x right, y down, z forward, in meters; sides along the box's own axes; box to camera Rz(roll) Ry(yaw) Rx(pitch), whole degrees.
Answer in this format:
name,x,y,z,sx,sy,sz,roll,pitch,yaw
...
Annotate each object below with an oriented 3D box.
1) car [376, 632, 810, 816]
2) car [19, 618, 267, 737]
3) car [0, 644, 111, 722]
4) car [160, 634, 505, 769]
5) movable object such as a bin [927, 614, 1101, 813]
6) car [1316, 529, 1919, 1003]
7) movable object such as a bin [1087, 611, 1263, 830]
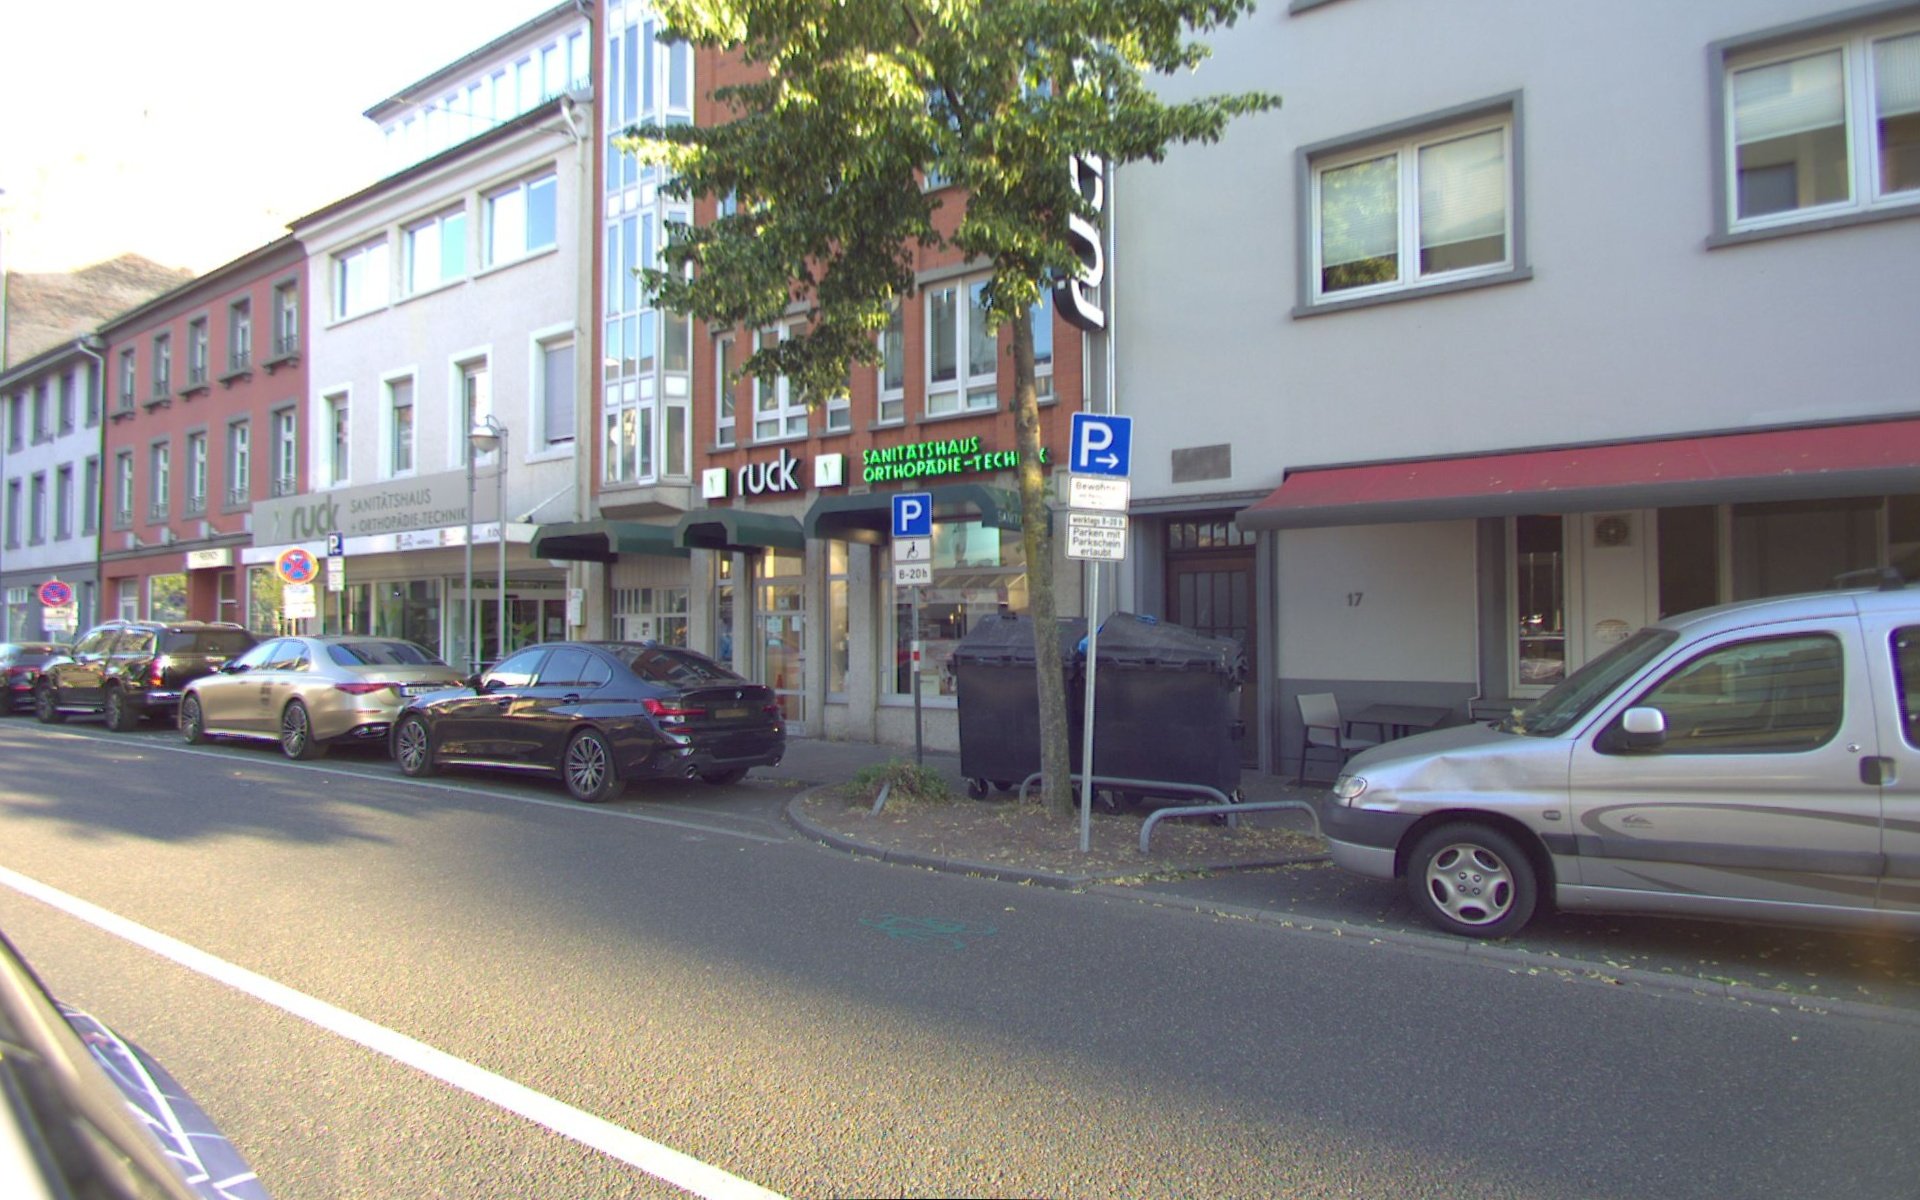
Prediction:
name,x,y,z,sx,sy,sz,roll,pitch,yaw
car,-3.792,1.114,10.169,4.528,1.484,1.706,-2,-5,33
car,-14.051,1.276,17.332,4.921,1.793,1.708,-2,-4,31
car,-19.227,1.656,20.684,4.001,1.448,1.688,-2,-5,32
car,-8.422,1.242,13.419,5.094,1.484,1.977,-2,-4,34
movable object such as a bin,0.483,0.957,9.033,1.331,1.632,0.775,-1,-1,30
car,4.006,0.712,4.965,4.038,1.902,1.657,-1,-4,31
movable object such as a bin,1.760,0.925,8.274,1.203,1.632,0.775,-1,0,30
